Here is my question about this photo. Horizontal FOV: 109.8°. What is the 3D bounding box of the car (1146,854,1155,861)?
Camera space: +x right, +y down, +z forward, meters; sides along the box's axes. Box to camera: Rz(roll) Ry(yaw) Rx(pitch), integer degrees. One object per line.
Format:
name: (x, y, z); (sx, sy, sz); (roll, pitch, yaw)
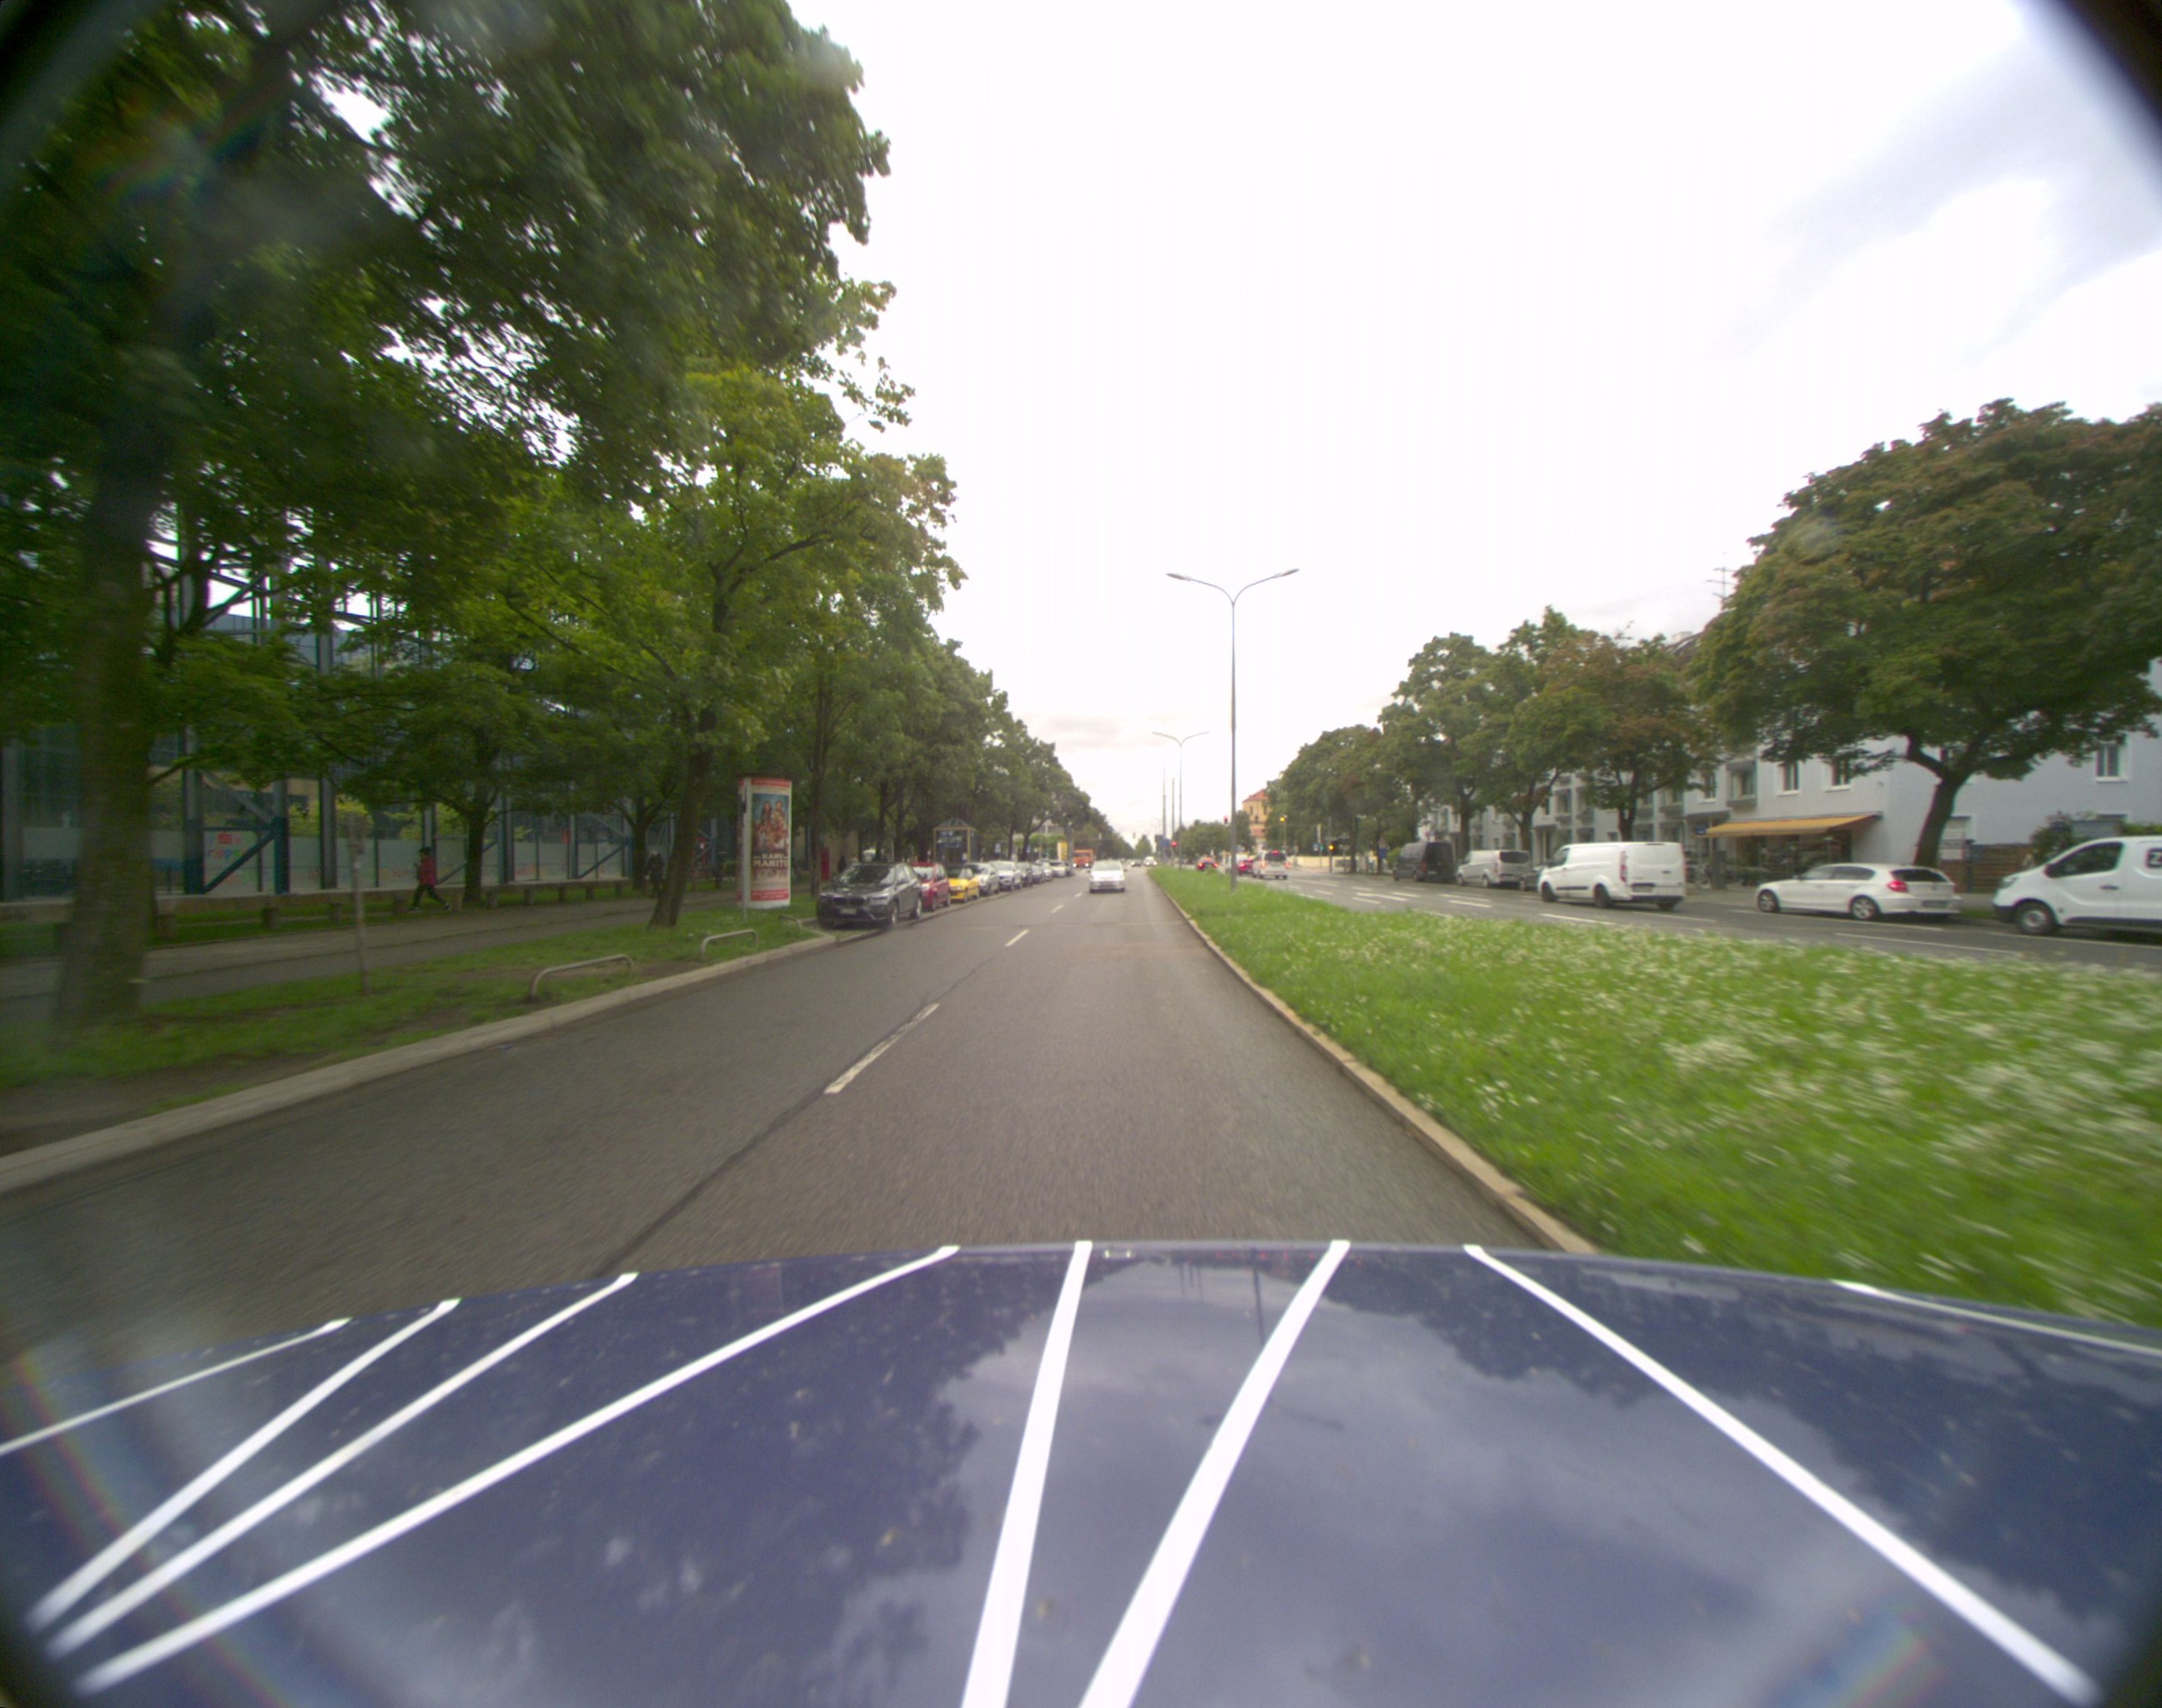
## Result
car: (12.691, 0.575, 139.411); (1.589, 1.259, 3.736); (0, 0, 5)

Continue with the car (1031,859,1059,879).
car: (-2.639, 1.080, 56.246); (1.589, 1.395, 3.736); (0, 0, 5)

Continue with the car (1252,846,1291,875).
car: (13.409, 0.449, 53.666); (1.944, 1.986, 4.705); (0, 0, 5)

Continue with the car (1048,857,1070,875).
car: (-1.934, 1.018, 67.176); (1.589, 1.495, 3.736); (0, 0, 5)

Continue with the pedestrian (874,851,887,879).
pedestrian: (-12.138, 0.643, 45.941); (0.612, 1.680, 0.612); (1, 1, -1)

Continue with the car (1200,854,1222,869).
car: (12.533, 0.695, 73.457); (1.761, 1.440, 3.673); (0, 0, 5)

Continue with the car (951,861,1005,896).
car: (-4.575, 1.061, 34.212); (1.626, 1.466, 3.896); (0, 0, 5)

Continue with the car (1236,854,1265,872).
car: (14.026, 0.762, 62.974); (1.795, 1.440, 3.673); (0, 0, 5)

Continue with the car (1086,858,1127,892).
car: (1.219, 0.934, 34.956); (1.679, 1.433, 3.736); (0, 0, 5)

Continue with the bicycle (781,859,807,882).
bicycle: (-15.606, 0.861, 41.423); (0.512, 1.185, 2.141); (0, 1, 2)

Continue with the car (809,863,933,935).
car: (-5.280, 1.065, 19.814); (1.865, 1.581, 4.603); (0, 0, 1)

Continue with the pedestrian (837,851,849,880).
pedestrian: (-13.438, 0.659, 42.963); (0.507, 1.619, 0.426); (1, 1, -1)

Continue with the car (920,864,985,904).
car: (-4.884, 1.114, 29.443); (1.626, 1.373, 4.195); (0, 0, 2)

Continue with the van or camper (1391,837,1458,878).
van or camper: (21.915, 0.201, 48.731); (2.054, 2.472, 5.549); (0, 0, 3)

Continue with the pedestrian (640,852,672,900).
pedestrian: (-14.704, 0.754, 26.296); (0.738, 1.636, 0.645); (2, 1, 10)

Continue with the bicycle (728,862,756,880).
bicycle: (-17.955, 0.879, 40.283); (0.618, 0.935, 1.763); (0, 0, 2)

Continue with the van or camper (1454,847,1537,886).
van or camper: (21.292, 0.597, 39.244); (2.025, 1.930, 4.705); (0, 0, 5)

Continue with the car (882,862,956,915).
car: (-5.178, 1.056, 24.688); (1.554, 1.564, 3.624); (0, 0, 1)

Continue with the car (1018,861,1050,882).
car: (-3.095, 1.136, 50.236); (1.589, 1.310, 3.736); (0, 0, 5)

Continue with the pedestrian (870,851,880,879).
pedestrian: (-12.051, 0.638, 44.484); (0.433, 1.680, 0.350); (0, 1, 9)

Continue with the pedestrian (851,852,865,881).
pedestrian: (-12.655, 0.722, 43.072); (0.612, 1.632, 0.434); (1, 1, 3)

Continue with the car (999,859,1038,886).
car: (-3.642, 1.036, 44.748); (1.682, 1.497, 3.736); (0, 0, 5)

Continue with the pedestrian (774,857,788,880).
pedestrian: (-16.098, 0.773, 40.775); (0.506, 1.172, 0.426); (1, 1, 3)

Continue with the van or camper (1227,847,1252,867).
van or camper: (14.790, 0.287, 71.067); (1.795, 1.787, 4.126); (0, 0, 5)

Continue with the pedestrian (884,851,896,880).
pedestrian: (-11.567, 0.669, 45.992); (0.528, 1.713, 0.660); (1, 1, -1)

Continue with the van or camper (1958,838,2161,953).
van or camper: (19.279, 0.706, 13.401); (1.809, 1.956, 5.212); (0, 0, 4)

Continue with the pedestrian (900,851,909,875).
pedestrian: (-12.828, 0.652, 55.281); (0.528, 1.713, 0.559); (1, 1, -1)

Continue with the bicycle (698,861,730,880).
bicycle: (-19.121, 0.847, 39.587); (0.571, 0.935, 2.064); (0, 1, 2)

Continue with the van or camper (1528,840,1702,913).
van or camper: (16.249, 0.619, 23.571); (2.020, 2.004, 5.200); (0, 0, 4)

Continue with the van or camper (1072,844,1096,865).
van or camper: (0.660, 0.117, 130.904); (3.320, 3.533, 10.900); (0, 0, 5)

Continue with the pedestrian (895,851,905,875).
pedestrian: (-12.998, 0.653, 54.638); (0.528, 1.713, 0.559); (1, 1, -1)

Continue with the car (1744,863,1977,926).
car: (19.767, 0.951, 19.588); (1.679, 1.386, 4.335); (0, 0, 3)

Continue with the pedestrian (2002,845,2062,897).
pedestrian: (29.861, 0.508, 23.862); (0.768, 1.593, 0.974); (0, 1, -21)

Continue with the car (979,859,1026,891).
car: (-4.031, 1.042, 39.566); (1.682, 1.522, 4.097); (0, 0, 5)

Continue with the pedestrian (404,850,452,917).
pedestrian: (-16.453, 0.724, 19.155); (0.865, 1.636, 0.737); (0, 2, -45)

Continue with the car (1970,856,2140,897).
car: (34.825, 0.800, 27.244); (3.996, 1.412, 1.550); (0, 0, 1)

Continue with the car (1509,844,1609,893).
car: (20.762, 0.600, 33.230); (1.800, 1.986, 4.548); (0, 0, 5)
